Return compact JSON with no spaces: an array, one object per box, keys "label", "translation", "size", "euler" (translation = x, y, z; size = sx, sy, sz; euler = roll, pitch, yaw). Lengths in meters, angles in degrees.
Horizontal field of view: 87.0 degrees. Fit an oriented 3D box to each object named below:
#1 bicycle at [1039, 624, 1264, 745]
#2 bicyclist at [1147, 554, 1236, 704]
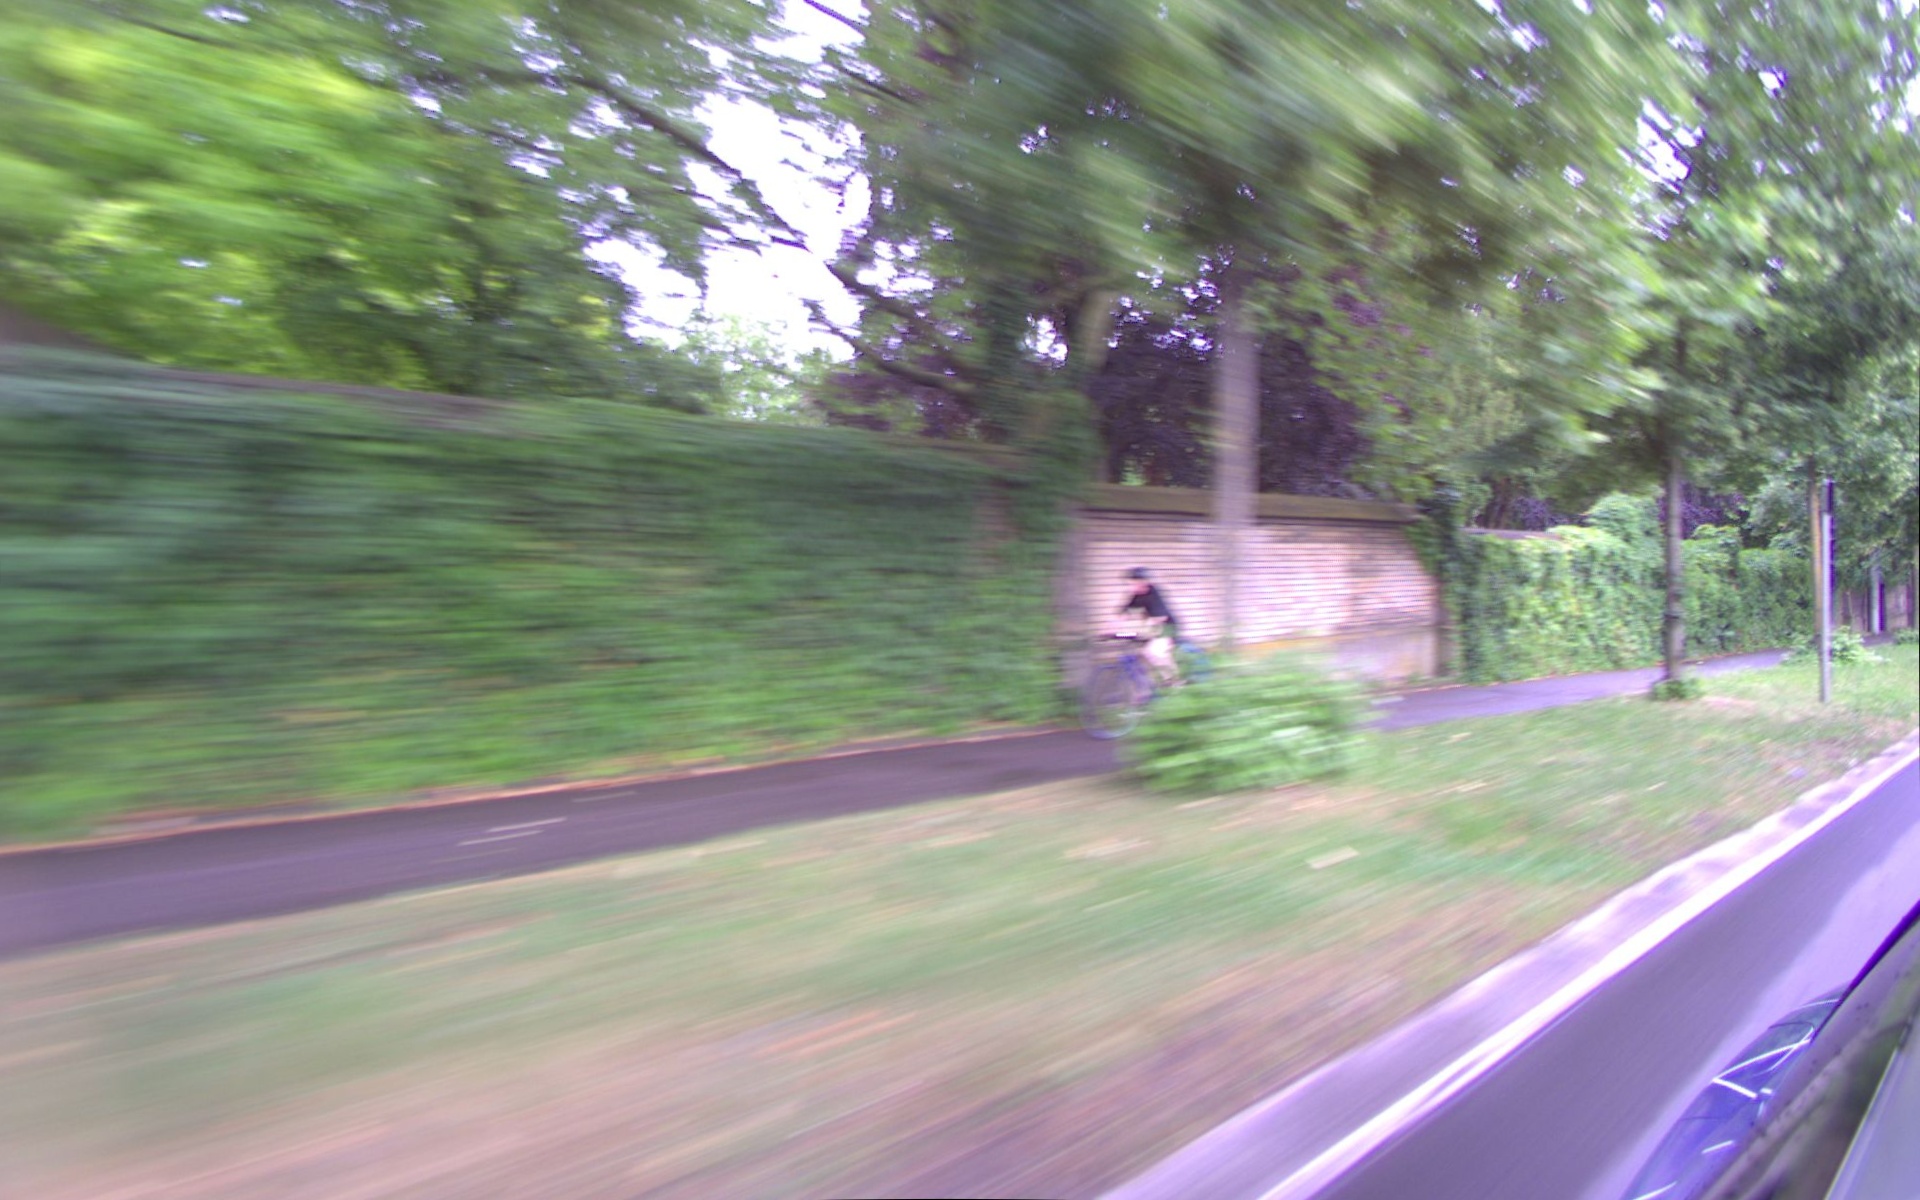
[{"label":"bicycle","translation":[1.870,0.740,9.580],"size":[2.502,0.960,0.544],"euler":[0,1,-37]},{"label":"bicyclist","translation":[2.254,0.264,9.859],"size":[0.654,1.407,0.536],"euler":[0,1,-37]}]
